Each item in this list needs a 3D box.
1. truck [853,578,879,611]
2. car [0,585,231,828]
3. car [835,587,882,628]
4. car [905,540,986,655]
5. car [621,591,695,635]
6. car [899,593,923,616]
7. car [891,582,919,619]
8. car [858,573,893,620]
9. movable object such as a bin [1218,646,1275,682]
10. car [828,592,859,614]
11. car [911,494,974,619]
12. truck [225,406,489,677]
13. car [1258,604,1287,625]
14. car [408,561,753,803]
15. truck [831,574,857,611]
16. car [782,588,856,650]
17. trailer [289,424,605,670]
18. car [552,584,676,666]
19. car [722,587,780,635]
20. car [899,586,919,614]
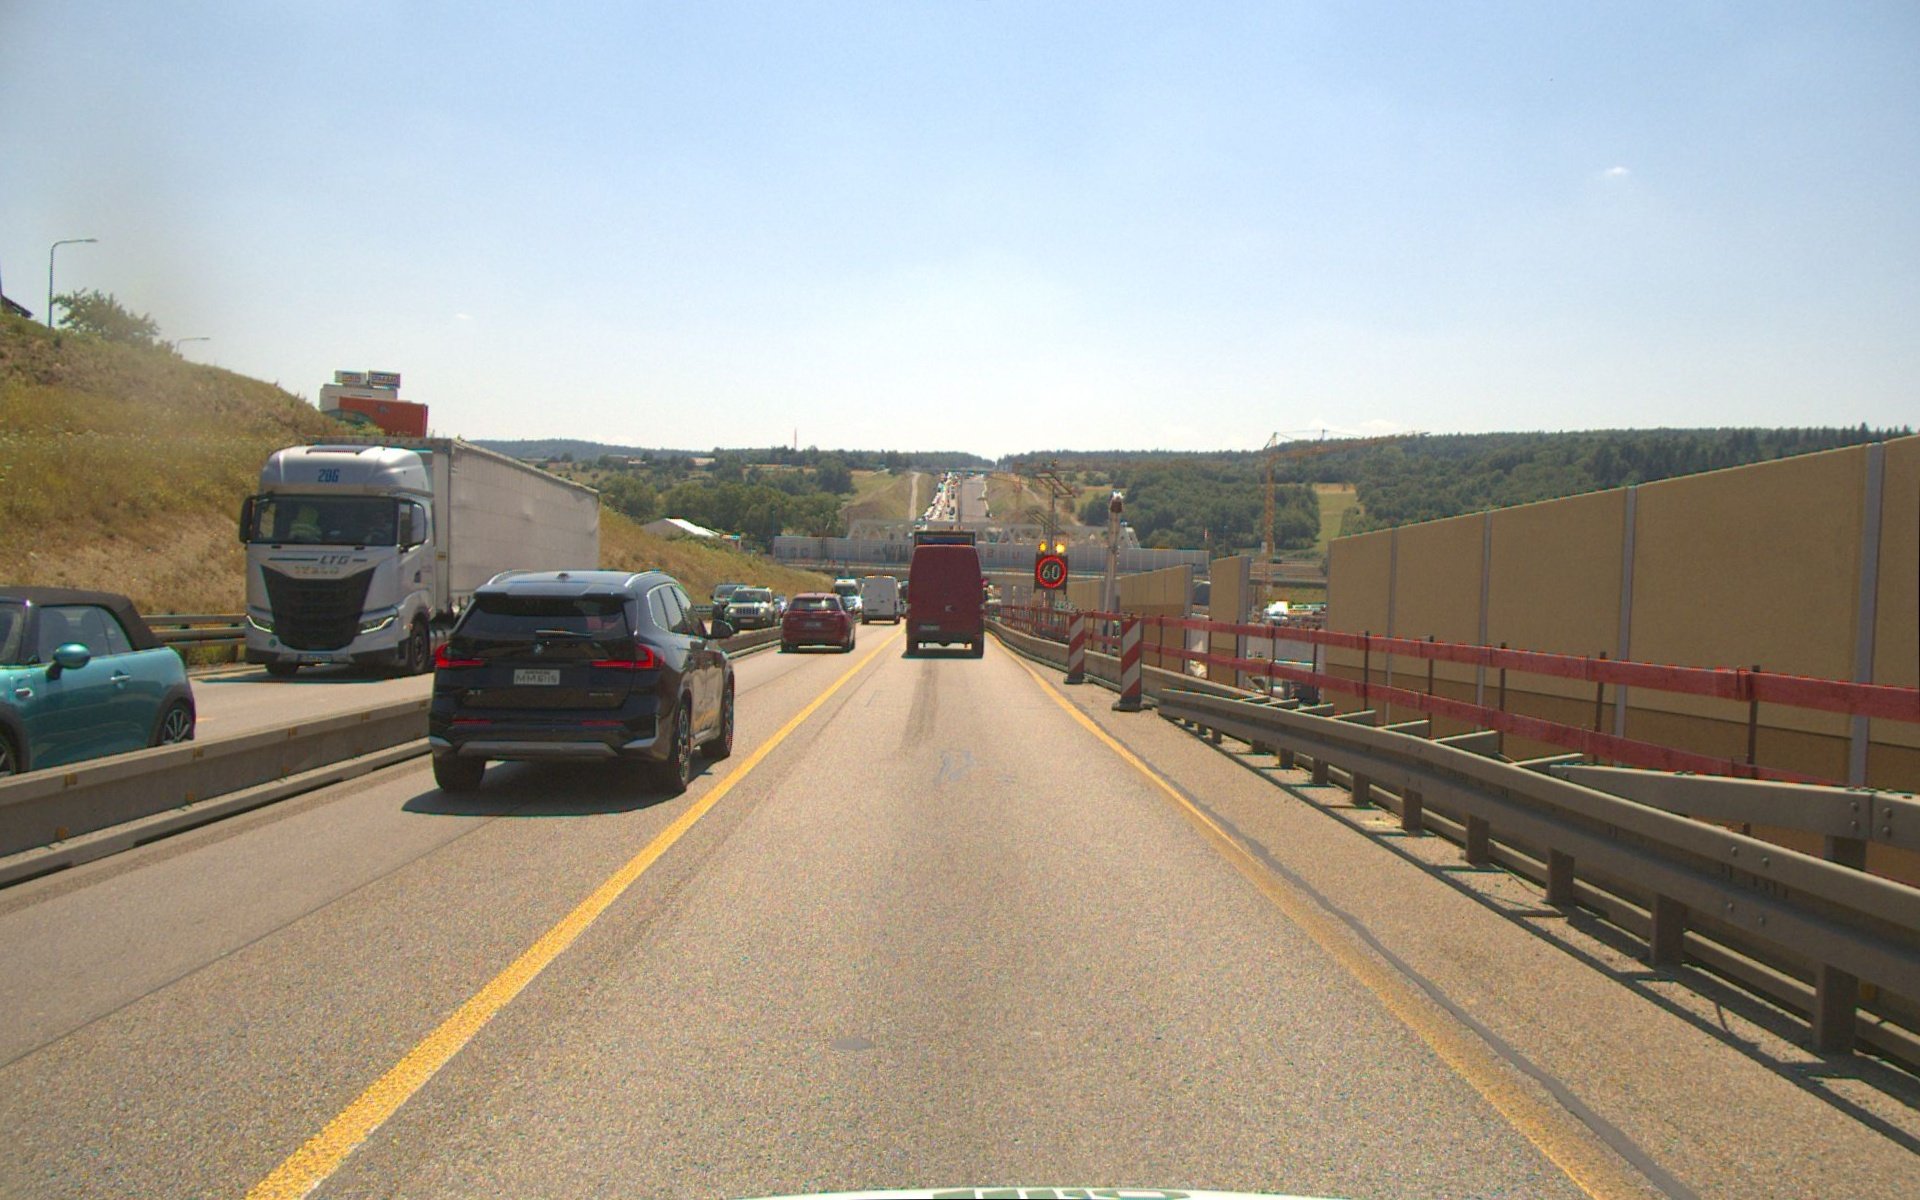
[{"bbox_3d":[-10.113,-0.568,178.114,2.486,3.433,7.036,1,0,-1],"label":"truck"},{"bbox_3d":[-6.492,0.615,10.975,1.632,1.418,3.904,0,0,-1],"label":"car"},{"bbox_3d":[-4.275,0.288,70.048,1.802,1.683,4.163,0,0,-2],"label":"car"},{"bbox_3d":[-0.384,-0.068,41.837,1.948,2.737,4.622,0,0,-1],"label":"car"},{"bbox_3d":[-11.016,0.458,60.602,1.953,1.533,4.717,1,0,-2],"label":"car"},{"bbox_3d":[-3.651,0.336,123.796,1.740,1.699,4.027,0,0,-1],"label":"car"},{"bbox_3d":[-3.543,0.016,107.643,1.740,2.370,4.205,0,0,-1],"label":"car"},{"bbox_3d":[-4.527,-0.179,89.399,1.740,2.484,4.205,0,0,-1],"label":"car"},{"bbox_3d":[22.979,5.127,133.127,3.098,2.488,7.894,3,0,0],"label":"movable object such as a bin"},{"bbox_3d":[-8.422,0.187,119.718,1.915,1.525,5.089,1,0,-1],"label":"car"},{"bbox_3d":[-0.791,-1.795,72.840,2.568,5.120,10.394,0,0,-1],"label":"car"},{"bbox_3d":[-10.270,-0.939,28.752,2.690,4.255,5.287,0,0,-1],"label":"truck"},{"bbox_3d":[32.207,1.485,170.481,1.769,2.049,4.823,1,0,-3],"label":"car"},{"bbox_3d":[-2.865,0.553,13.515,1.841,1.646,4.498,0,0,-1],"label":"car"},{"bbox_3d":[-13.051,-0.875,186.636,2.643,4.121,3.954,1,0,-1],"label":"truck"},{"bbox_3d":[-3.598,0.465,42.830,1.740,1.544,4.204,0,0,-3],"label":"car"},{"bbox_3d":[-10.420,-0.970,35.765,2.729,4.255,13.975,0,0,-1],"label":"trailer"},{"bbox_3d":[-6.689,0.451,32.326,1.636,1.492,3.999,0,0,-1],"label":"car"},{"bbox_3d":[-7.590,0.401,60.366,1.796,1.695,4.411,0,0,-3],"label":"car"},{"bbox_3d":[-4.441,-0.019,144.255,1.740,2.370,4.205,0,0,-1],"label":"car"}]
